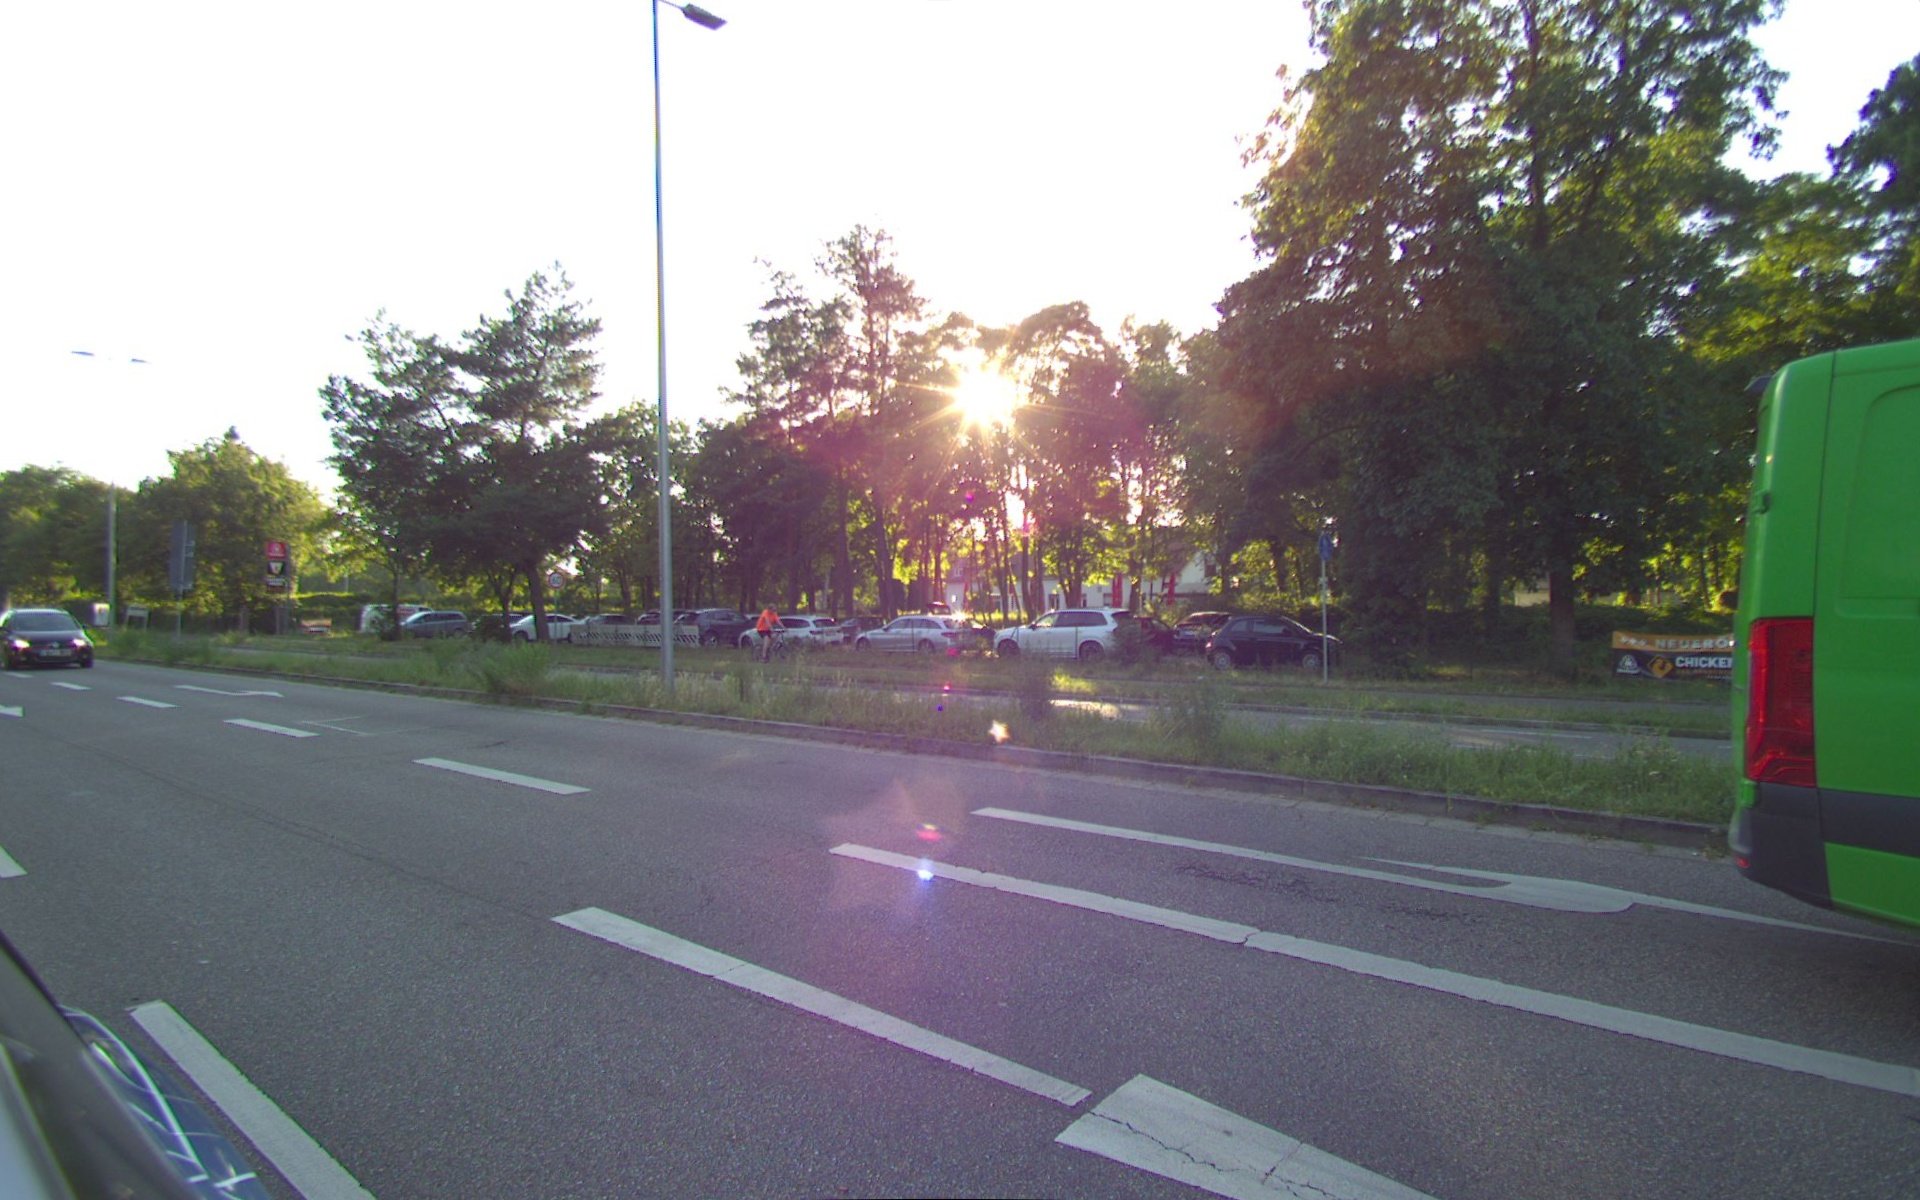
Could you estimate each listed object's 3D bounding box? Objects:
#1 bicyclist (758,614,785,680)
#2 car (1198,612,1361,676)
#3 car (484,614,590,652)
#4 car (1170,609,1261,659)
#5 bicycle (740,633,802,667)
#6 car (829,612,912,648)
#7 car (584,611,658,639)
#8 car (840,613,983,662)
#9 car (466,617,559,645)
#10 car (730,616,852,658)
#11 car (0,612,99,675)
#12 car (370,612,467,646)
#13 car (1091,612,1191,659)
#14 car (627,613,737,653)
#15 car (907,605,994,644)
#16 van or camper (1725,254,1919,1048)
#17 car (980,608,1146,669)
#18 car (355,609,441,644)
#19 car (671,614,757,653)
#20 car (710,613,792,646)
[{"bbox_3d":[-5.405,1.343,29.078,0.617,1.888,0.454,-1,-2,36],"label":"bicyclist"},{"bbox_3d":[8.577,1.141,27.259,3.807,1.609,1.838,-1,-2,36],"label":"car"},{"bbox_3d":[-20.798,1.614,49.855,1.908,1.767,4.441,-1,-2,39],"label":"car"},{"bbox_3d":[9.005,1.167,35.452,1.914,1.663,3.954,-1,-1,34],"label":"car"},{"bbox_3d":[-5.441,1.429,29.094,2.040,0.940,0.487,-1,-2,36],"label":"bicycle"},{"bbox_3d":[-4.315,1.443,49.057,1.765,1.663,3.947,-1,-2,39],"label":"car"},{"bbox_3d":[-20.491,1.498,61.249,1.765,1.663,3.947,-1,-2,40],"label":"car"},{"bbox_3d":[-1.741,1.279,35.601,4.913,1.619,1.975,-1,-2,37],"label":"car"},{"bbox_3d":[-22.629,1.548,51.258,1.731,1.322,3.947,-1,-2,39],"label":"car"},{"bbox_3d":[-6.600,1.408,39.304,4.701,1.560,1.975,-1,-2,37],"label":"car"},{"bbox_3d":[-24.830,1.122,27.152,3.996,1.564,1.974,-1,-2,40],"label":"car"},{"bbox_3d":[-30.261,1.597,56.655,1.907,1.811,4.443,-1,-2,38],"label":"car"},{"bbox_3d":[6.827,1.305,37.855,1.918,1.663,3.944,-1,-2,42],"label":"car"},{"bbox_3d":[-11.971,1.408,43.848,1.769,1.629,4.470,-1,-2,37],"label":"car"},{"bbox_3d":[-0.381,1.096,45.121,1.765,1.663,3.947,-1,-2,39],"label":"car"},{"bbox_3d":[5.473,0.131,2.273,5.891,2.439,1.973,-1,-2,40],"label":"van or camper"},{"bbox_3d":[3.178,1.170,31.814,4.913,1.800,1.975,-1,-2,37],"label":"car"},{"bbox_3d":[-32.535,1.508,58.678,1.764,1.959,3.949,-1,-2,38],"label":"car"},{"bbox_3d":[-10.029,1.358,41.323,1.657,1.538,3.060,-1,-2,38],"label":"car"},{"bbox_3d":[-10.897,1.513,52.958,1.765,1.663,3.947,-1,-2,40],"label":"car"}]
